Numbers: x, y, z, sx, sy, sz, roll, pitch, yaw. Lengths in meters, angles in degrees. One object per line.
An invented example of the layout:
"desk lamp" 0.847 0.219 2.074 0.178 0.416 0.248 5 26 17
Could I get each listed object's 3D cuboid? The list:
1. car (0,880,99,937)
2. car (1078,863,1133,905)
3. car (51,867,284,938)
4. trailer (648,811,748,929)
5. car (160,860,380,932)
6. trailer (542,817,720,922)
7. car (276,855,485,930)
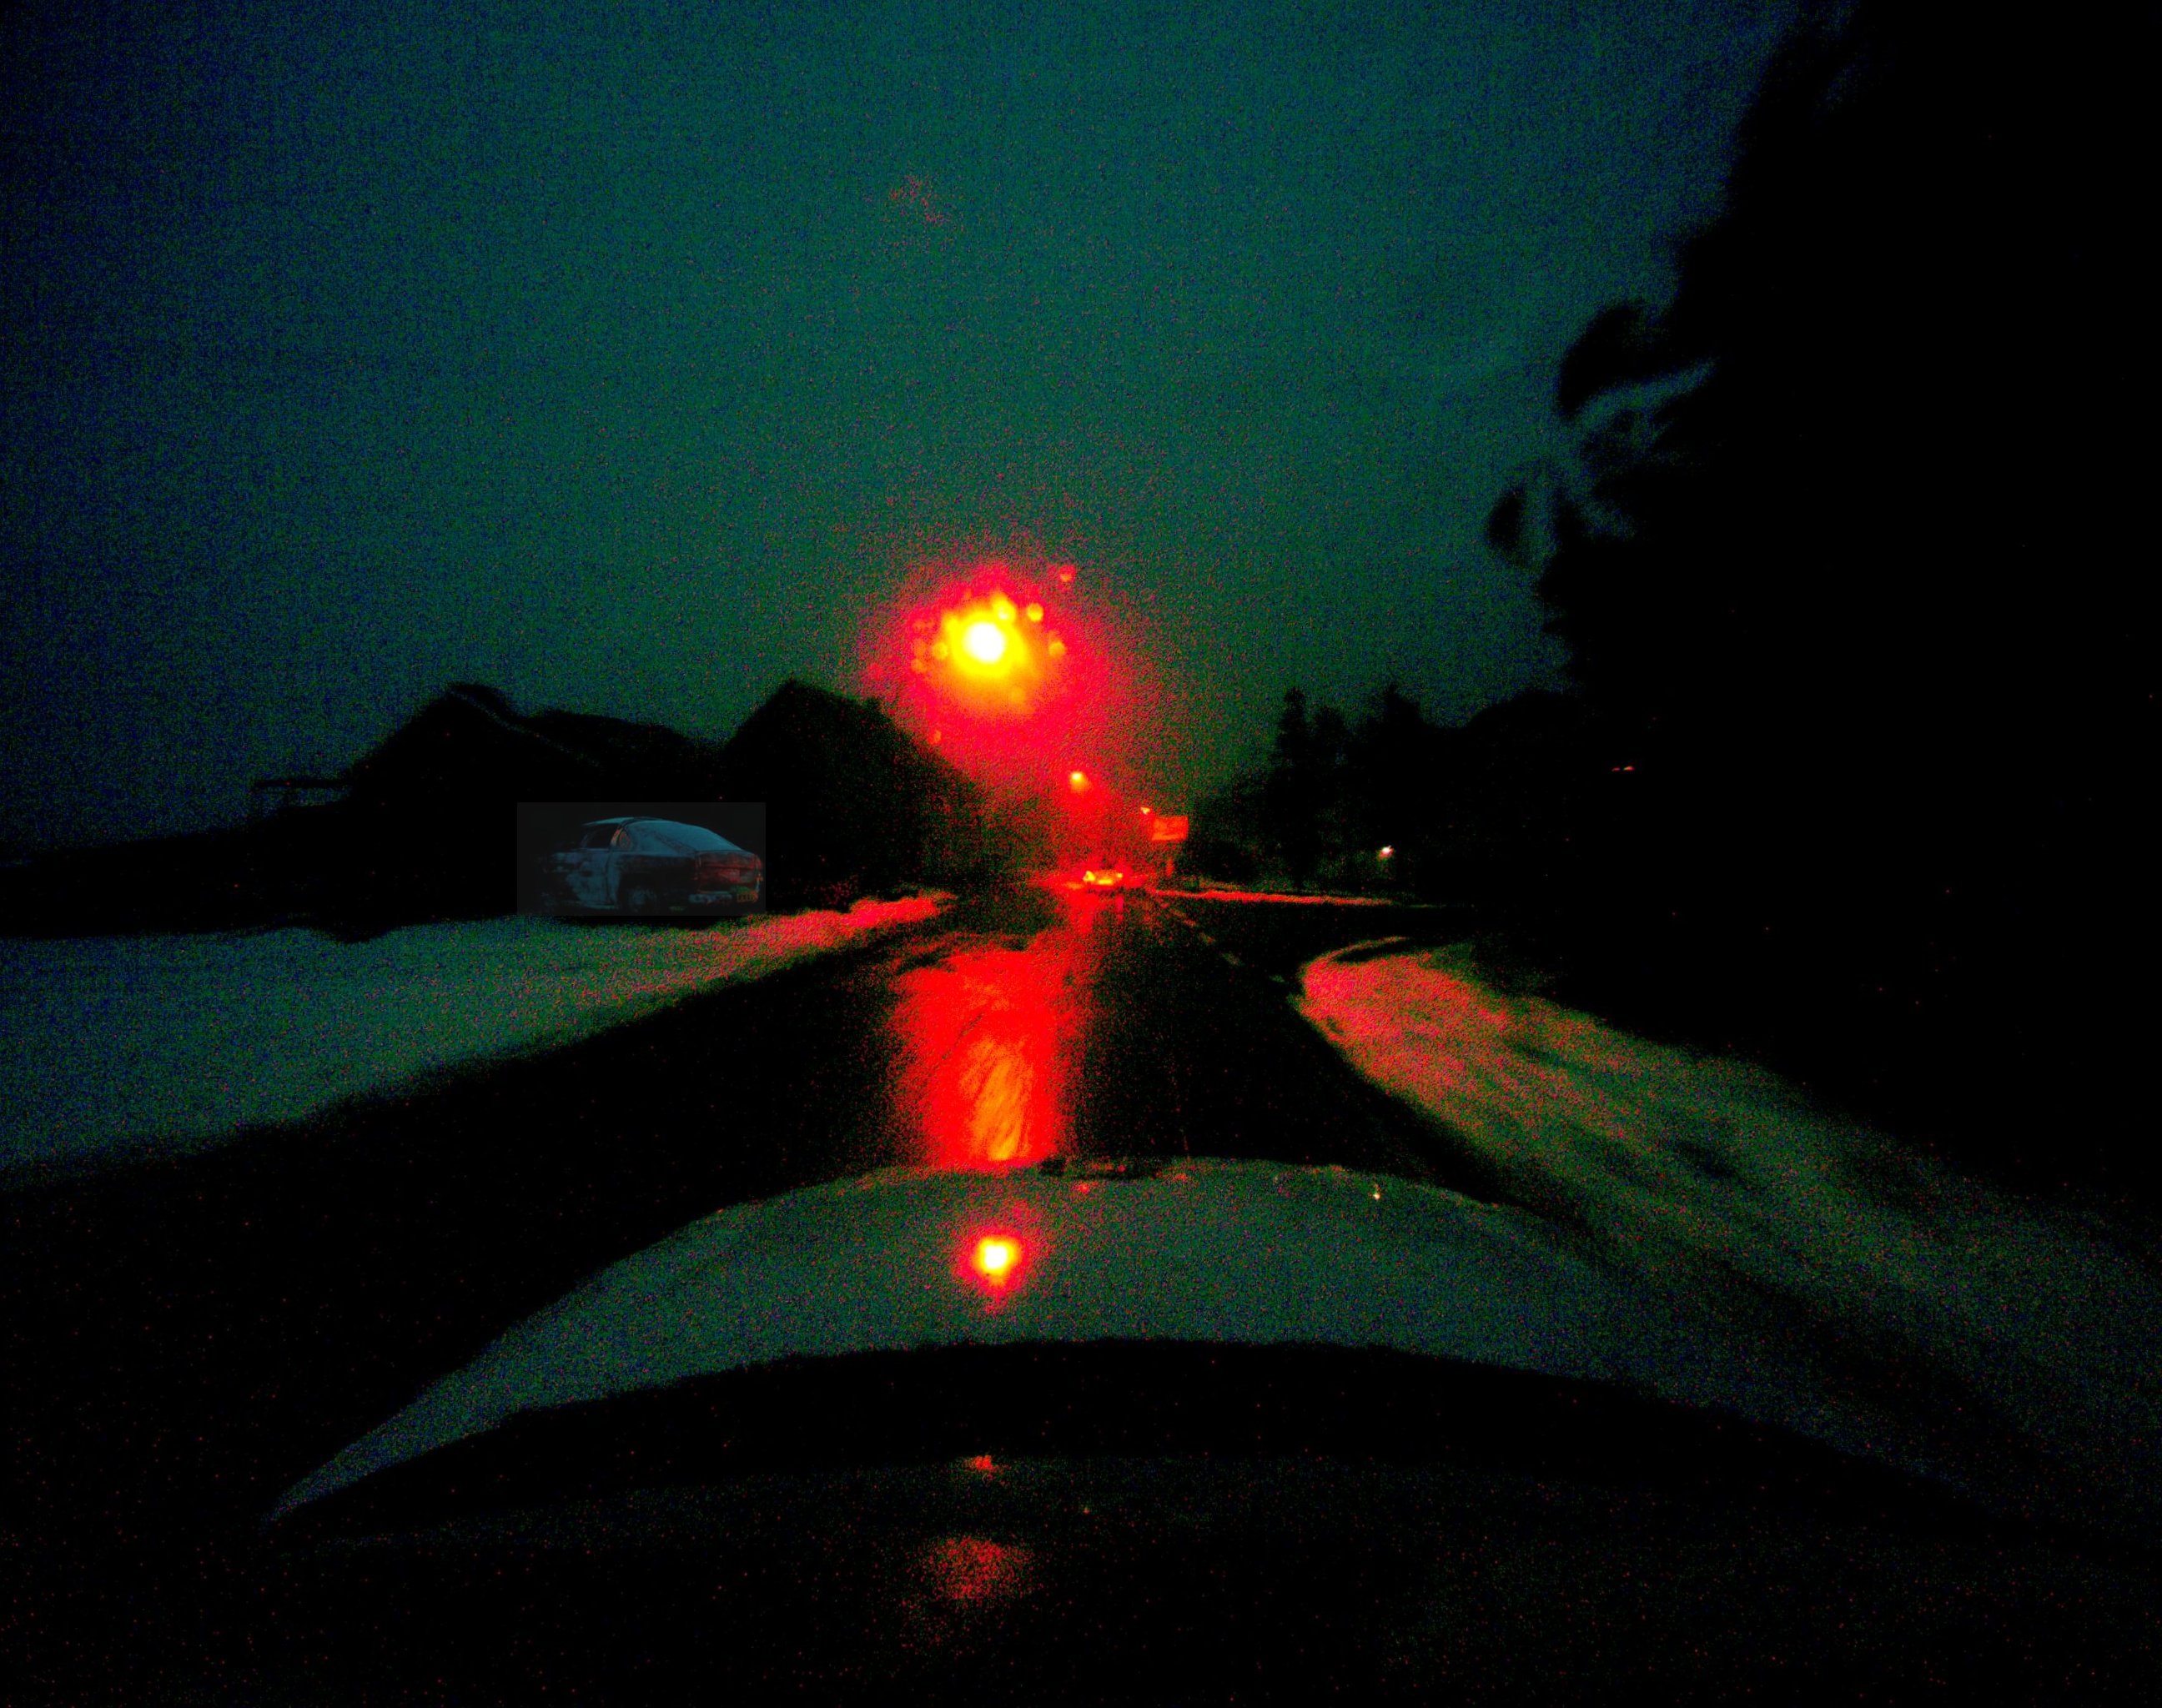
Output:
"car" -34.893 1.833 25.972 1.982 1.661 4.011 -3 1 9
"car" 1.137 1.268 35.474 1.983 1.508 4.008 -3 1 6
"car" -26.444 1.336 23.817 1.982 1.661 4.010 -3 1 8
"trailer" -9.510 0.363 20.469 1.694 2.605 3.424 -4 1 -18
"car" -23.125 1.133 23.479 1.983 1.661 4.009 -3 1 7
"trailer" -12.031 0.345 22.138 1.981 2.489 4.021 -3 1 10
"car" -19.598 1.012 23.047 1.980 1.716 4.013 -3 1 12
